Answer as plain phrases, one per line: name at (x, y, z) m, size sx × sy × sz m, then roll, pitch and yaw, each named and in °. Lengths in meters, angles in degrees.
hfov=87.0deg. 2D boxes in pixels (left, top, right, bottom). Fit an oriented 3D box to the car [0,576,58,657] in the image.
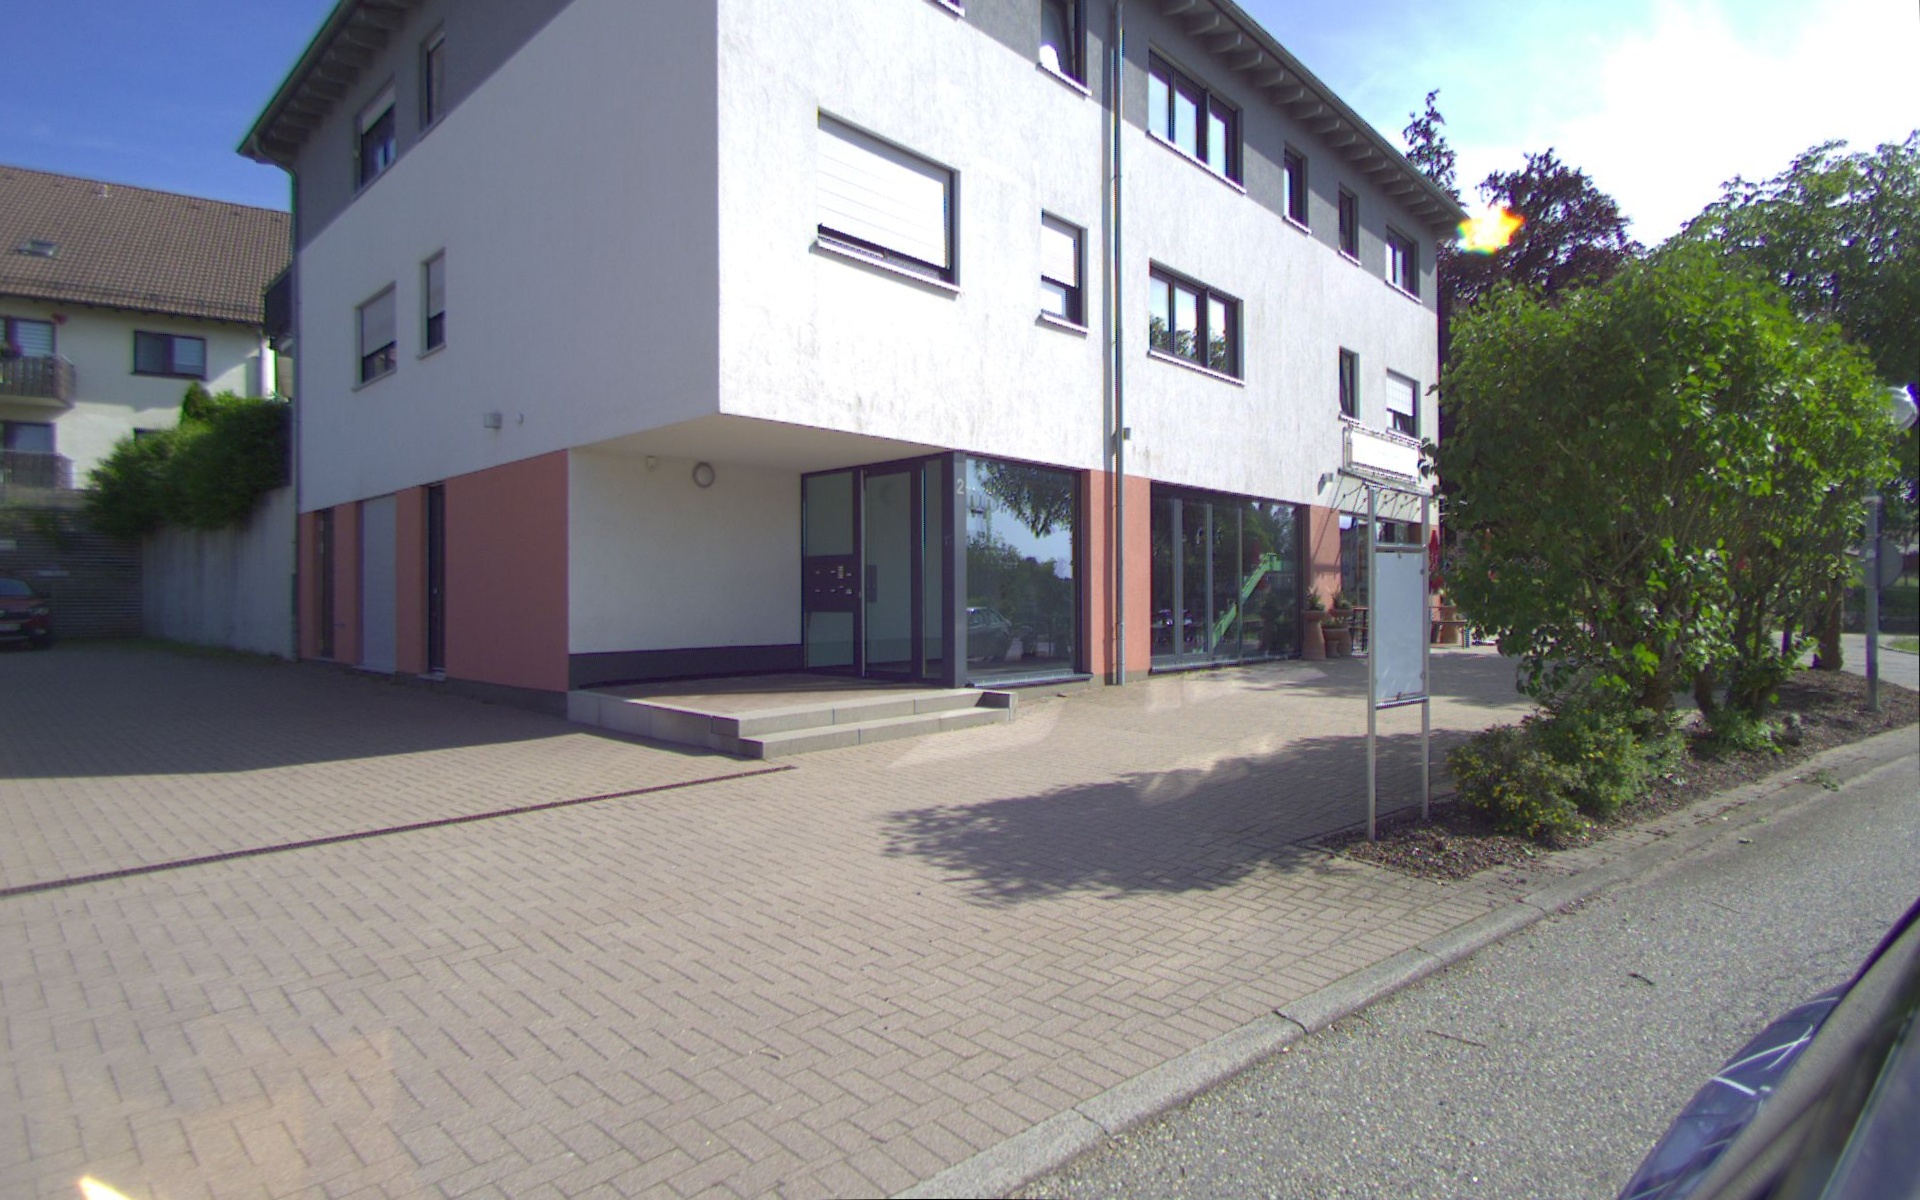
car at (-19.485, 0.279, 20.109) m, size 3.531 × 1.458 × 1.865 m, roll 3°, pitch 2°, yaw 40°
